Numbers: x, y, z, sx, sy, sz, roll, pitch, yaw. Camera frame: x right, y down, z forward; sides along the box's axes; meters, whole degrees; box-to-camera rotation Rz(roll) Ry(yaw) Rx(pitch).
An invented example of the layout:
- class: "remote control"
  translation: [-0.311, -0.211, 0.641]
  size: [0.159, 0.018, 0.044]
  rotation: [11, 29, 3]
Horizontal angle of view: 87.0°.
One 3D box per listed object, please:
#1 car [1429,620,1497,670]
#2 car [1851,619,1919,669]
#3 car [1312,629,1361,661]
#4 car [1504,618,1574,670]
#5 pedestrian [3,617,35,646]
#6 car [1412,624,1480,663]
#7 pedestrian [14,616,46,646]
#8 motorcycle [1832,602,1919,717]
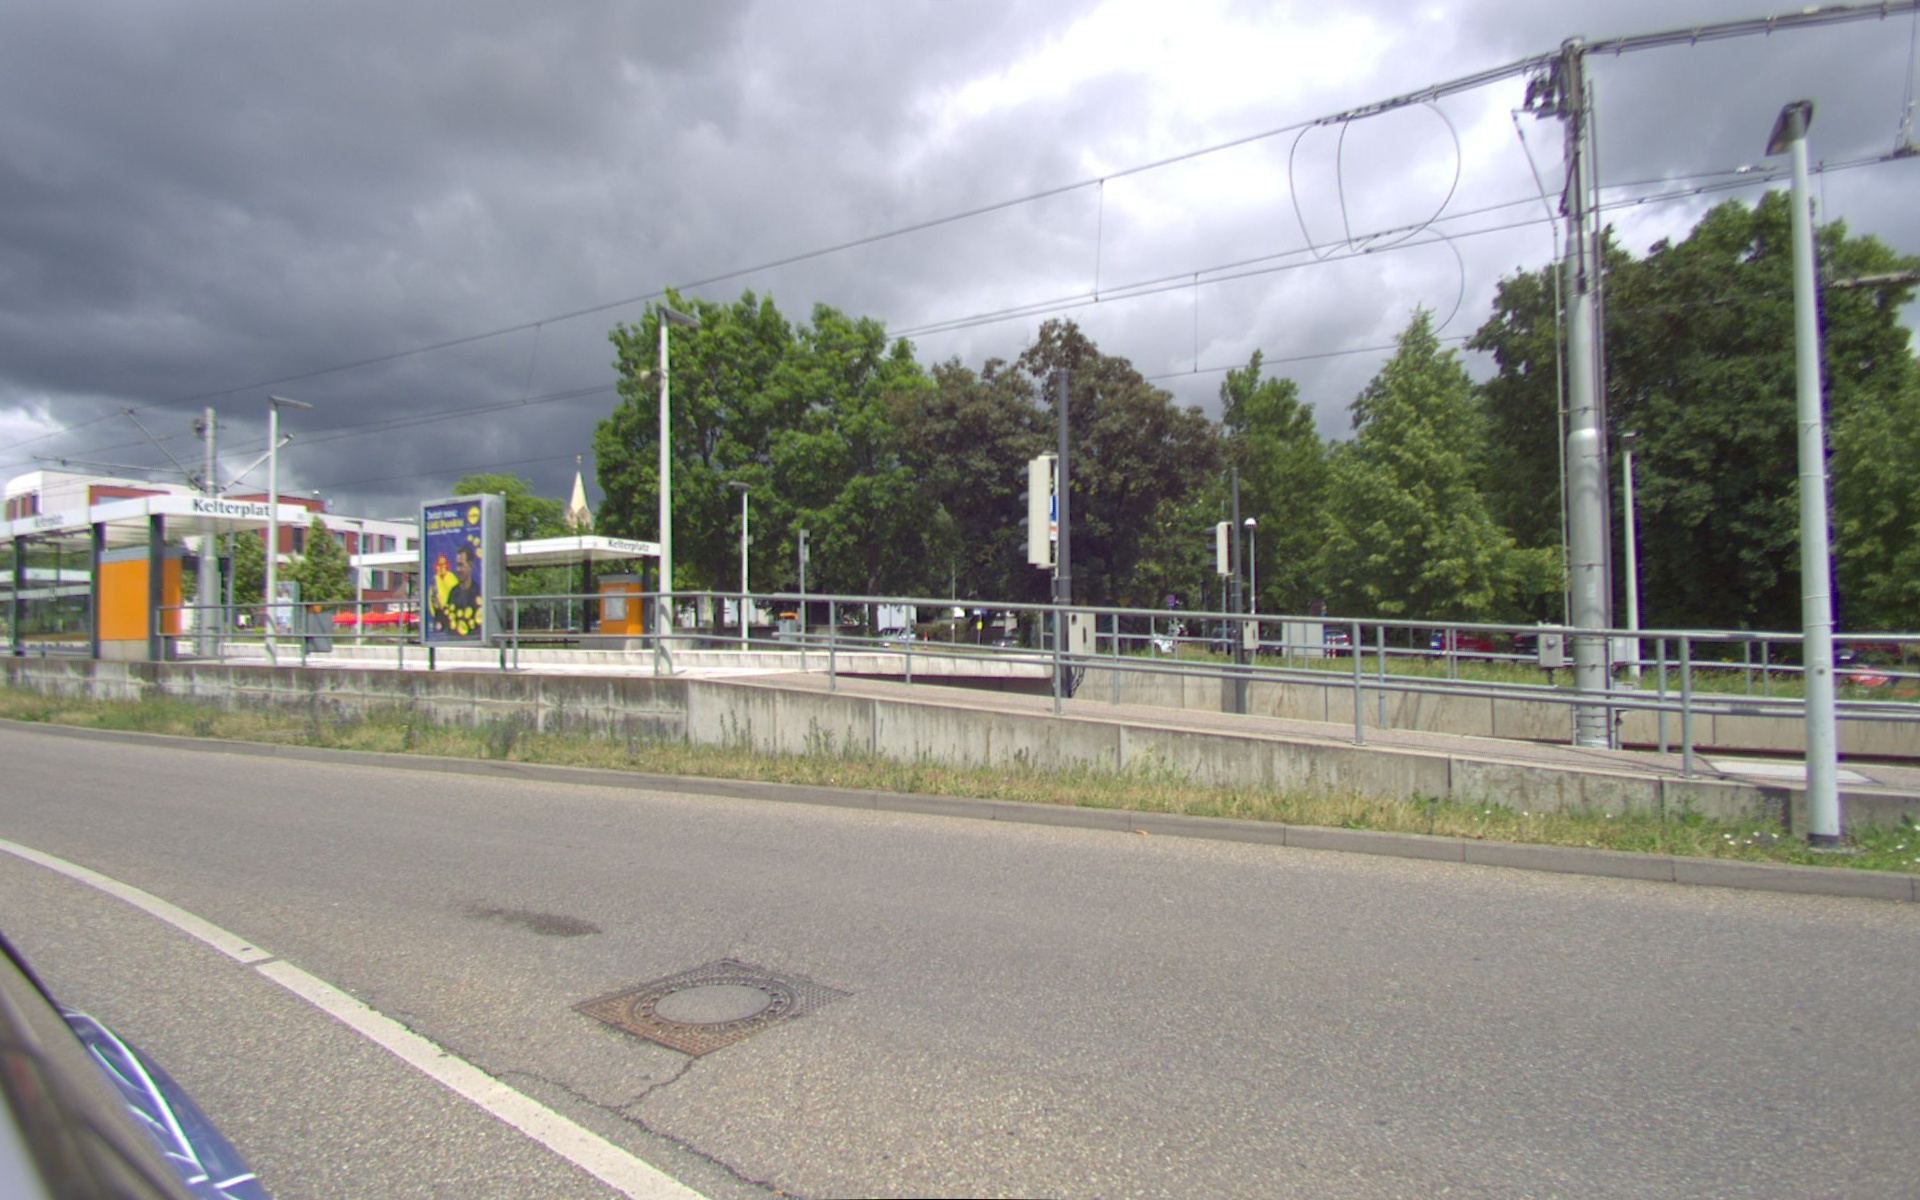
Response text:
- class: "car"
  translation: [18.350, 1.626, 36.828]
  size: [2.044, 1.719, 3.613]
  rotation: [-3, -3, 28]
- class: "car"
  translation: [36.703, 1.710, 39.881]
  size: [1.997, 1.849, 3.950]
  rotation: [-3, -3, 37]
- class: "car"
  translation: [18.804, 2.220, 50.477]
  size: [1.958, 1.503, 3.800]
  rotation: [-2, -3, 25]
- class: "car"
  translation: [20.442, 1.548, 35.889]
  size: [1.966, 1.697, 3.961]
  rotation: [-3, -3, 28]
- class: "pedestrian"
  translation: [-43.096, 1.459, 46.344]
  size: [1.108, 1.302, 0.751]
  rotation: [-1, -3, 31]
- class: "car"
  translation: [22.578, 1.998, 46.973]
  size: [2.185, 1.741, 3.952]
  rotation: [-3, -3, 35]
- class: "pedestrian"
  translation: [-42.042, 1.410, 45.758]
  size: [1.108, 1.302, 0.751]
  rotation: [-1, -3, 31]
- class: "motorcycle"
  translation: [17.134, 1.062, 18.296]
  size: [1.982, 2.029, 0.824]
  rotation: [-2, -3, 43]
